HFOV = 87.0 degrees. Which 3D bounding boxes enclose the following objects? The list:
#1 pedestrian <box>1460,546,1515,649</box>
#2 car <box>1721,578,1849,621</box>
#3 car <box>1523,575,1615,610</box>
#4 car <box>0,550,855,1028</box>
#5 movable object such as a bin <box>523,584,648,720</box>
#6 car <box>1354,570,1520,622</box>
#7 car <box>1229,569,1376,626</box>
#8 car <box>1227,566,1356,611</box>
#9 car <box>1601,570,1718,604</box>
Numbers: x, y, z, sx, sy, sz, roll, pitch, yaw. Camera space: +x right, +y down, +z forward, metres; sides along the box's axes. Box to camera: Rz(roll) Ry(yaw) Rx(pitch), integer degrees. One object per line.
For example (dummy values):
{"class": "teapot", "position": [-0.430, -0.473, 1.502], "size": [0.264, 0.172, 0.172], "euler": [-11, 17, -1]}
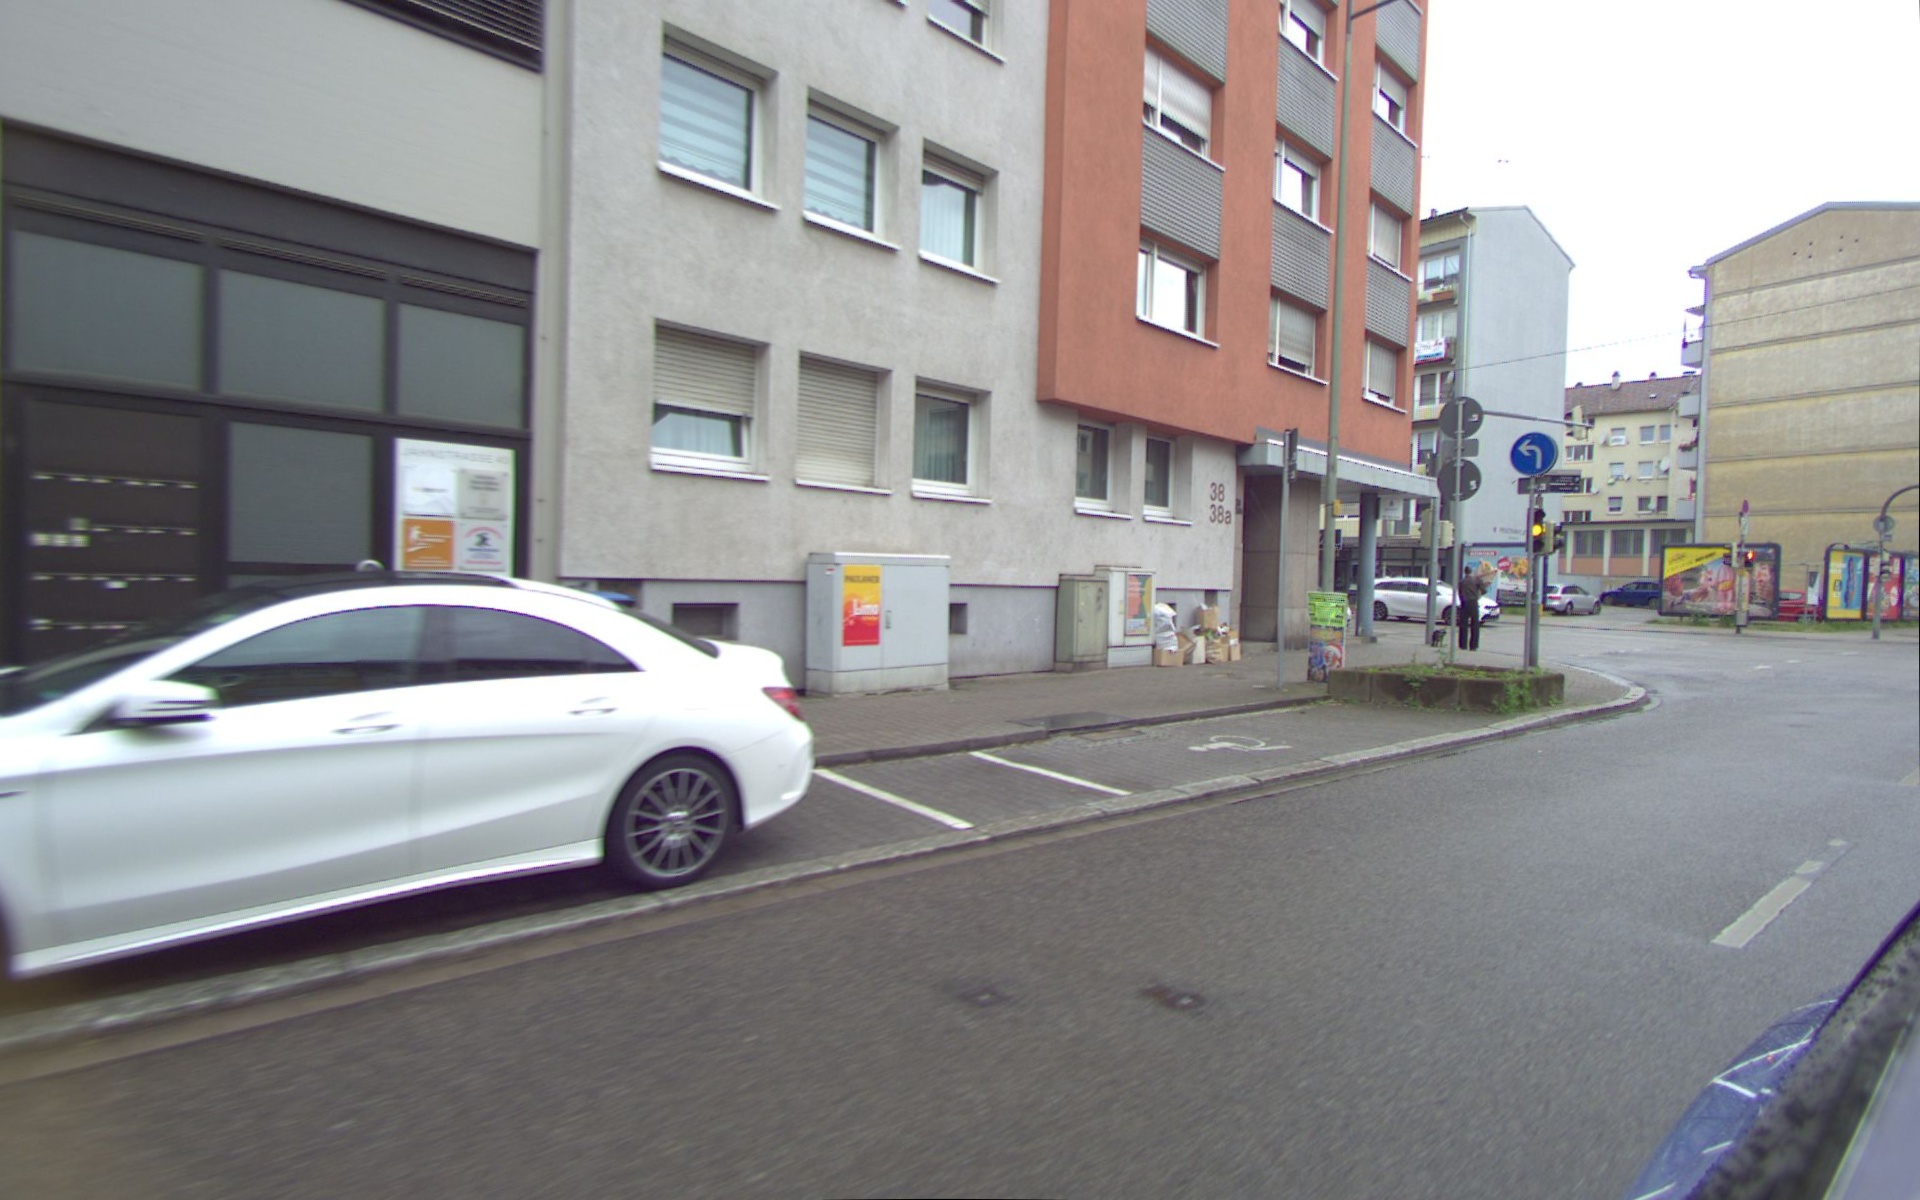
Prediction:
{"class": "pedestrian", "position": [11.563, -0.057, 22.183], "size": [0.755, 2.186, 0.828], "euler": [1, -1, -34]}
{"class": "car", "position": [33.422, -0.055, 41.047], "size": [2.051, 1.570, 3.661], "euler": [0, 2, -39]}
{"class": "car", "position": [27.651, -0.331, 45.919], "size": [4.247, 1.458, 1.882], "euler": [0, 2, -34]}
{"class": "car", "position": [-2.812, 0.546, 4.408], "size": [4.502, 1.418, 1.777], "euler": [0, 4, -43]}
{"class": "movable object such as a bin", "position": [-3.229, 0.419, 8.722], "size": [0.713, 1.081, 0.772], "euler": [3, 2, 44]}
{"class": "car", "position": [15.840, -0.187, 33.855], "size": [1.883, 1.504, 4.667], "euler": [0, 3, -35]}
{"class": "car", "position": [10.206, -0.119, 30.421], "size": [1.670, 1.504, 3.962], "euler": [0, 3, -34]}
{"class": "car", "position": [12.543, -0.475, 38.576], "size": [1.810, 1.504, 4.527], "euler": [0, 3, -34]}
{"class": "car", "position": [36.448, -0.649, 52.885], "size": [2.110, 1.710, 4.789], "euler": [0, 0, -14]}
